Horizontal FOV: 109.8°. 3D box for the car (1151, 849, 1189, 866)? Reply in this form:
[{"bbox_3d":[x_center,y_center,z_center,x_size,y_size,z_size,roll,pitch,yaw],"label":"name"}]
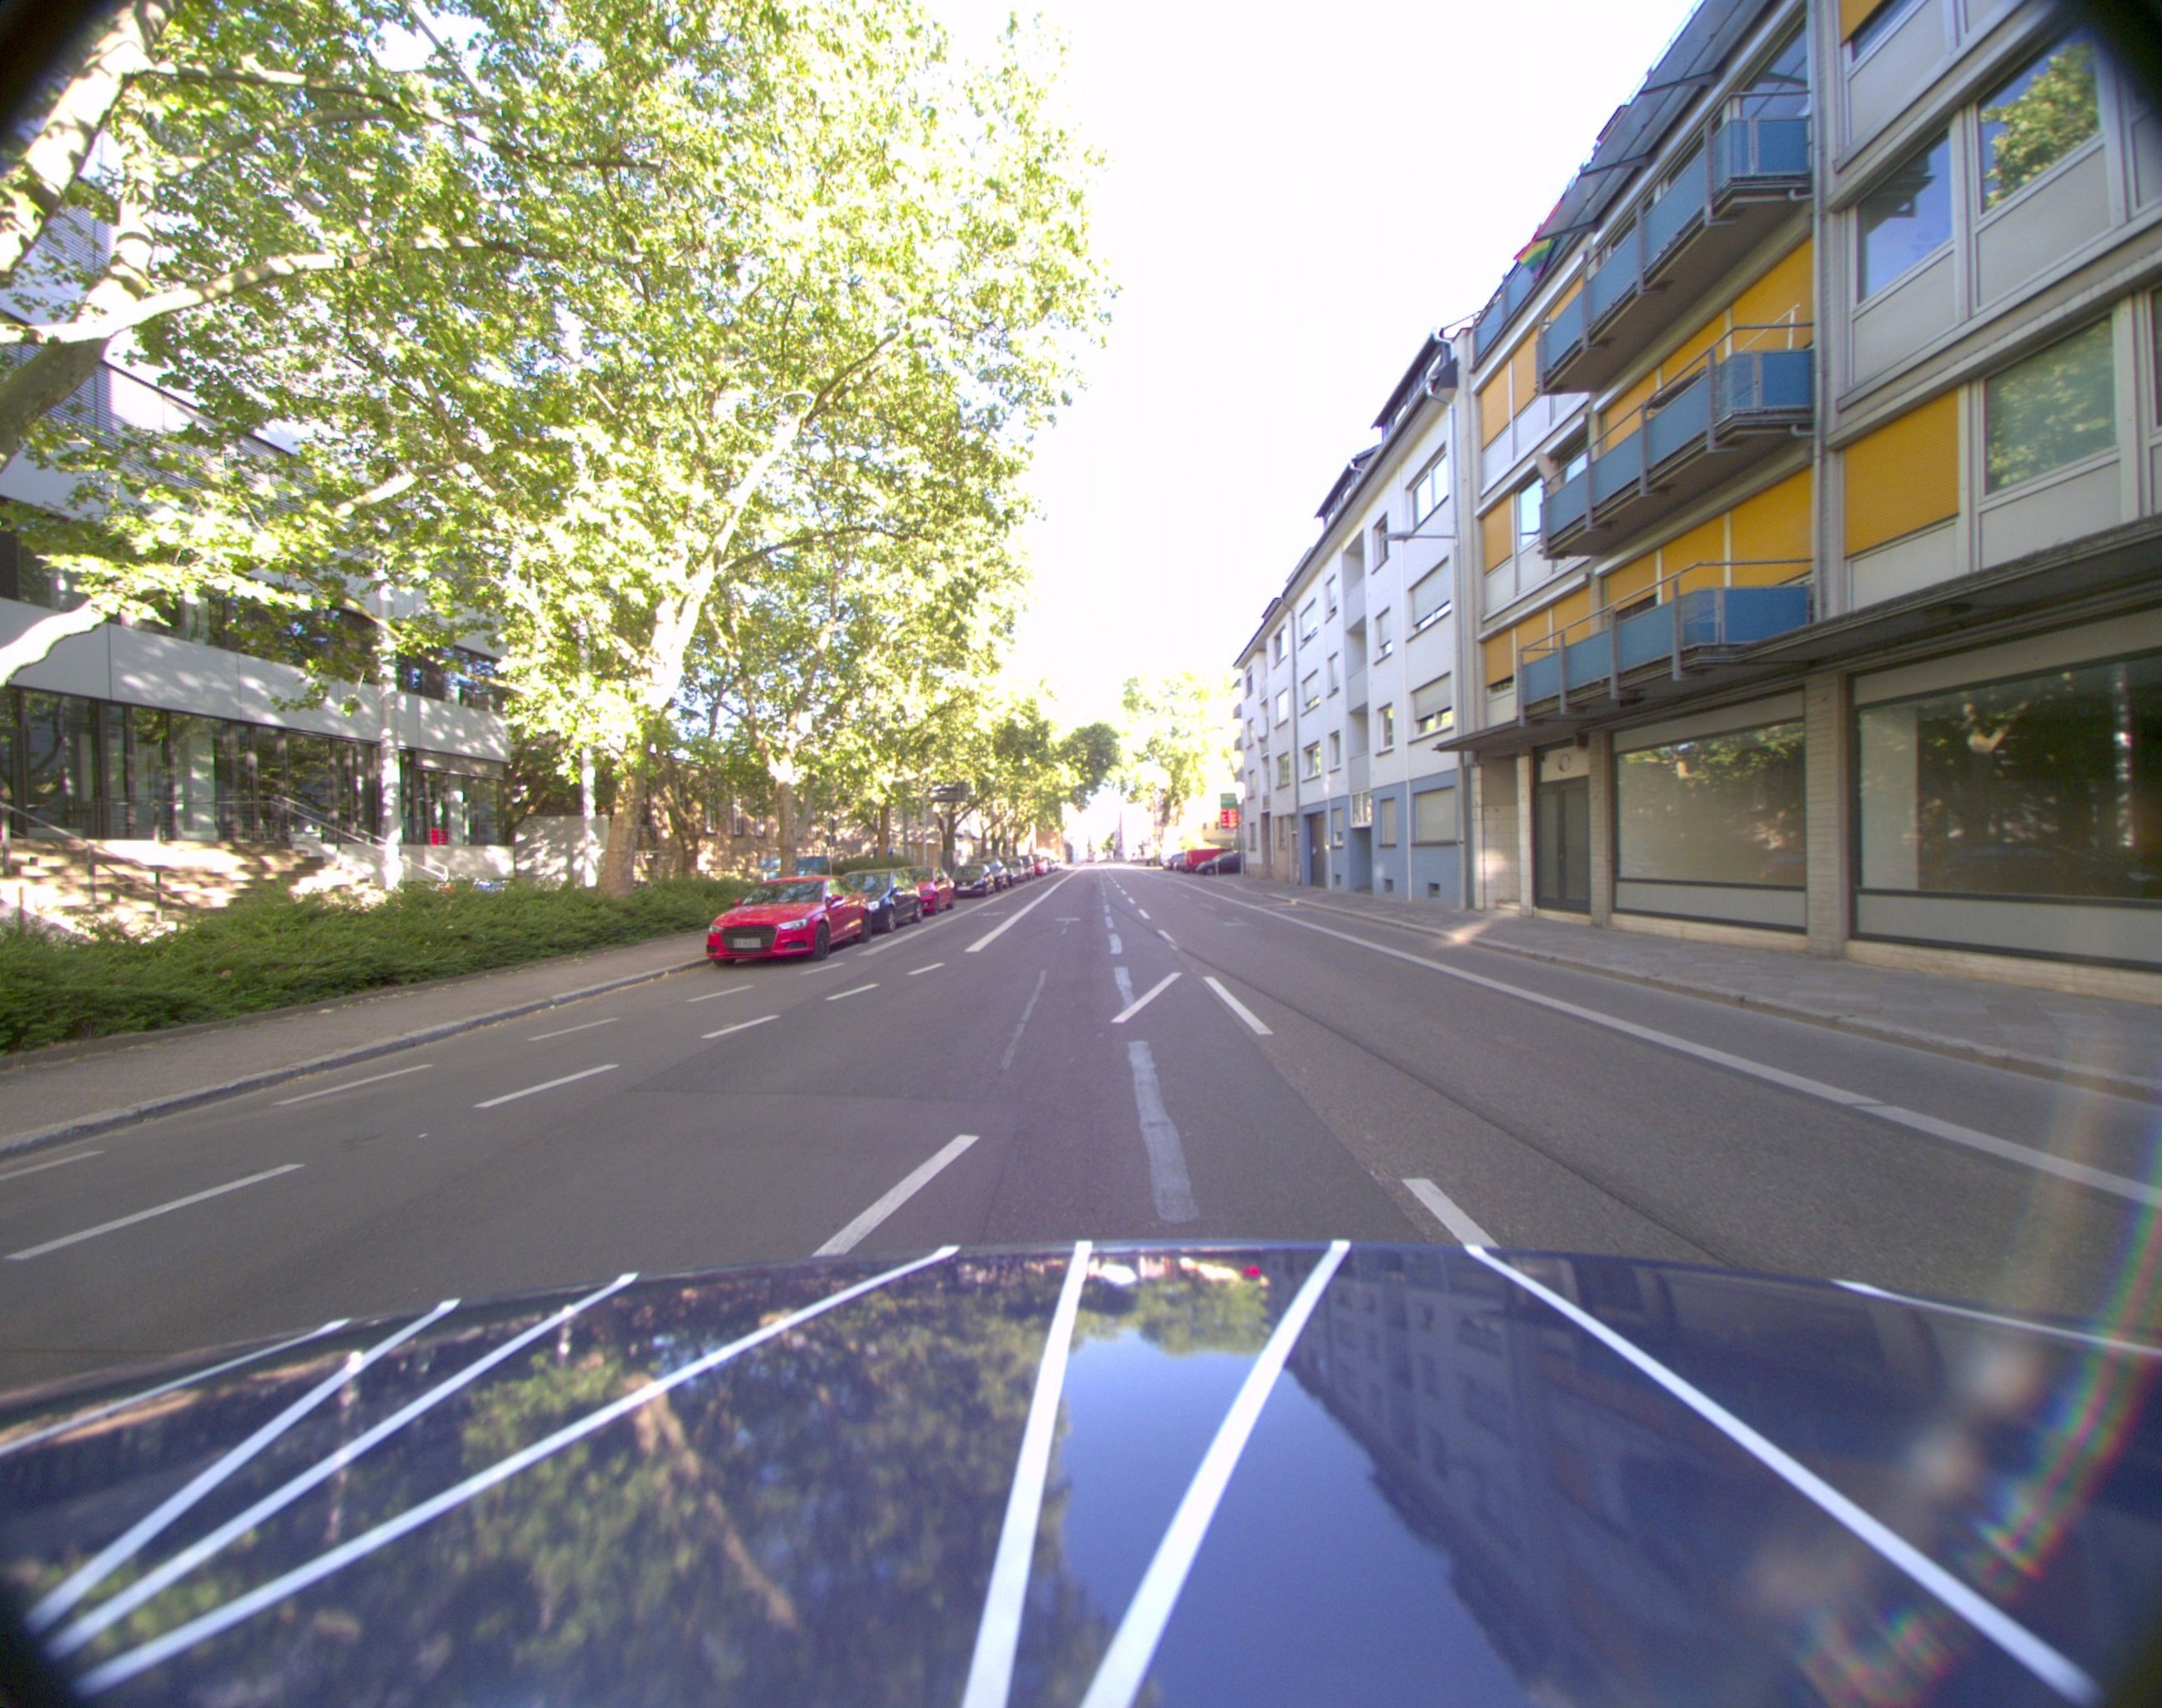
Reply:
[{"bbox_3d":[9.479,0.382,80.850,3.728,1.579,1.743,-2,1,-5],"label":"car"}]

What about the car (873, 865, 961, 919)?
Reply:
[{"bbox_3d":[-5.013,1.112,23.785,1.790,1.429,4.000,-1,0,1],"label":"car"}]

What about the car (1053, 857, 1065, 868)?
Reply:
[{"bbox_3d":[-2.635,1.036,92.579,1.300,1.220,3.241,-1,0,0],"label":"car"}]

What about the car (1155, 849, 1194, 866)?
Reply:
[{"bbox_3d":[9.609,0.386,78.559,3.703,1.573,1.718,-2,1,-5],"label":"car"}]

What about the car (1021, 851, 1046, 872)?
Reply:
[{"bbox_3d":[-4.113,0.621,66.170,1.876,1.685,4.166,-1,0,1],"label":"car"}]

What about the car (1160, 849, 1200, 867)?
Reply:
[{"bbox_3d":[9.873,0.389,75.900,3.658,1.578,1.659,-2,1,-5],"label":"car"}]

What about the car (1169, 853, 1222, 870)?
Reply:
[{"bbox_3d":[9.434,0.594,62.805,4.033,1.265,1.906,-2,1,-1],"label":"car"}]

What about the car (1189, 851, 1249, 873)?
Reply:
[{"bbox_3d":[9.930,0.547,54.789,3.997,1.385,1.781,-2,1,-1],"label":"car"}]

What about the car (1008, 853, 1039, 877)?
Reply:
[{"bbox_3d":[-4.175,0.756,55.500,1.831,1.608,4.177,-1,0,1],"label":"car"}]

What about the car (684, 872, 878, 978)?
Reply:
[{"bbox_3d":[-5.132,1.138,13.667,1.775,1.416,4.173,-3,0,0],"label":"car"}]

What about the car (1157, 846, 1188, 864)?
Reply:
[{"bbox_3d":[10.222,0.117,85.208,3.267,1.927,1.693,-2,1,2],"label":"car"}]

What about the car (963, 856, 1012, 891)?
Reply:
[{"bbox_3d":[-4.628,0.925,38.199,1.848,1.572,4.232,-2,0,1],"label":"car"}]

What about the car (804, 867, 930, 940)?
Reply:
[{"bbox_3d":[-5.047,1.112,18.518,1.813,1.449,4.000,-1,0,2],"label":"car"}]

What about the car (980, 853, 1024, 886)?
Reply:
[{"bbox_3d":[-4.550,0.873,44.182,1.998,1.715,4.262,-2,1,1],"label":"car"}]

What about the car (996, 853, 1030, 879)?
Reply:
[{"bbox_3d":[-4.446,0.744,50.443,1.798,1.608,4.075,-1,0,1],"label":"car"}]

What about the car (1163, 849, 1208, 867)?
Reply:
[{"bbox_3d":[10.075,0.369,73.352,3.998,1.618,1.702,-2,1,-5],"label":"car"}]

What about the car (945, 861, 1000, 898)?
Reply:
[{"bbox_3d":[-4.682,1.086,33.253,1.745,1.430,4.000,-1,0,1],"label":"car"}]

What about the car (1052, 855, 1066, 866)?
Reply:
[{"bbox_3d":[-2.994,0.825,102.849,1.707,1.459,3.809,-1,0,0],"label":"car"}]

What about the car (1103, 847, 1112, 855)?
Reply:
[{"bbox_3d":[6.756,-0.781,193.452,1.998,2.002,3.999,-2,1,1],"label":"car"}]

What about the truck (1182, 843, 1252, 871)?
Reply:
[{"bbox_3d":[10.721,0.245,60.086,5.088,2.009,2.000,-2,1,0],"label":"truck"}]
